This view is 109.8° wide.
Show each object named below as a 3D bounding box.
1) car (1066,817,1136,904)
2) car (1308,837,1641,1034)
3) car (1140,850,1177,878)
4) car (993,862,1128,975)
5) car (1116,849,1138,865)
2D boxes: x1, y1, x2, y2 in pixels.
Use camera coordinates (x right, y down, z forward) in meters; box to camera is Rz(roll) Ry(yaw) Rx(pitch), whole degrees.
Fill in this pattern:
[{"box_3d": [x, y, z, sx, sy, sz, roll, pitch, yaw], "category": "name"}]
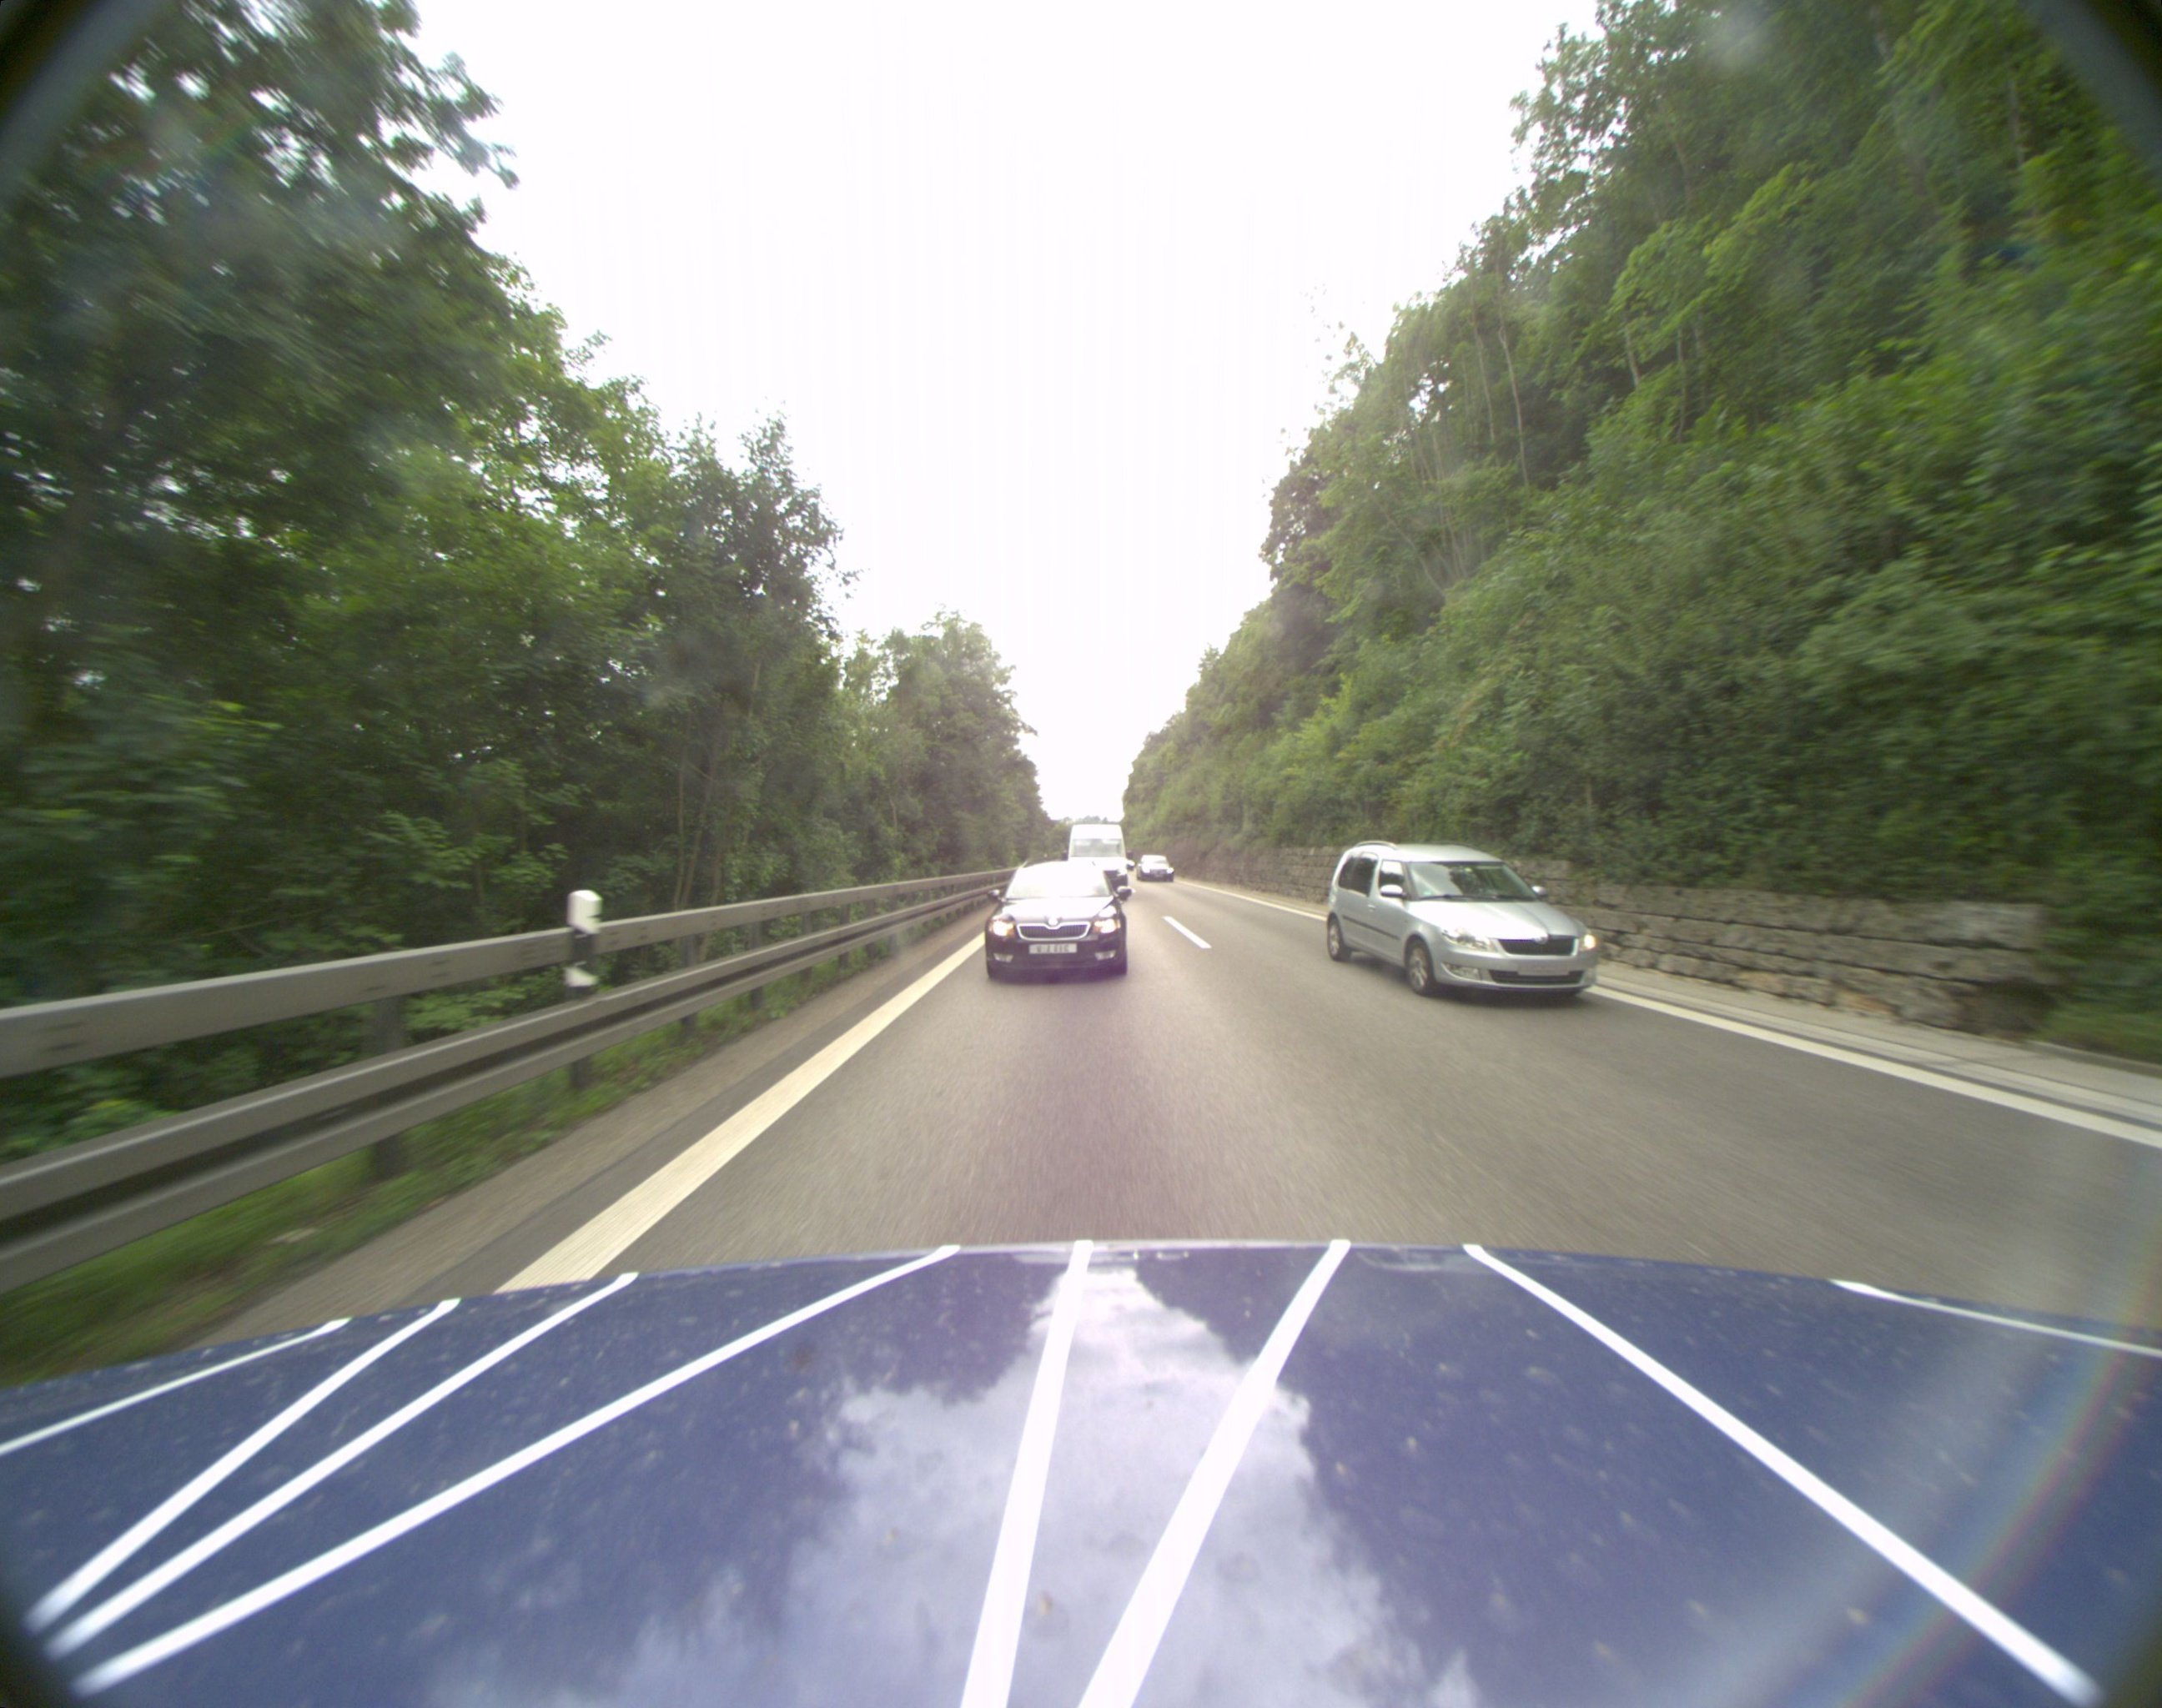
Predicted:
[{"box_3d": [0.586, 0.181, 25.293, 2.001, 2.545, 5.127, 2, 1, 0], "category": "car"}, {"box_3d": [4.155, 0.714, 8.943, 1.638, 1.716, 4.344, 1, 0, 0], "category": "car"}, {"box_3d": [4.453, 0.564, 44.443, 1.765, 1.455, 5.123, 2, 0, 2], "category": "car"}, {"box_3d": [-0.326, 0.878, 12.318, 1.751, 1.409, 4.400, -2, 0, -2], "category": "car"}, {"box_3d": [4.545, 0.241, 75.742, 1.840, 1.460, 4.554, 2, 0, 0], "category": "car"}]
